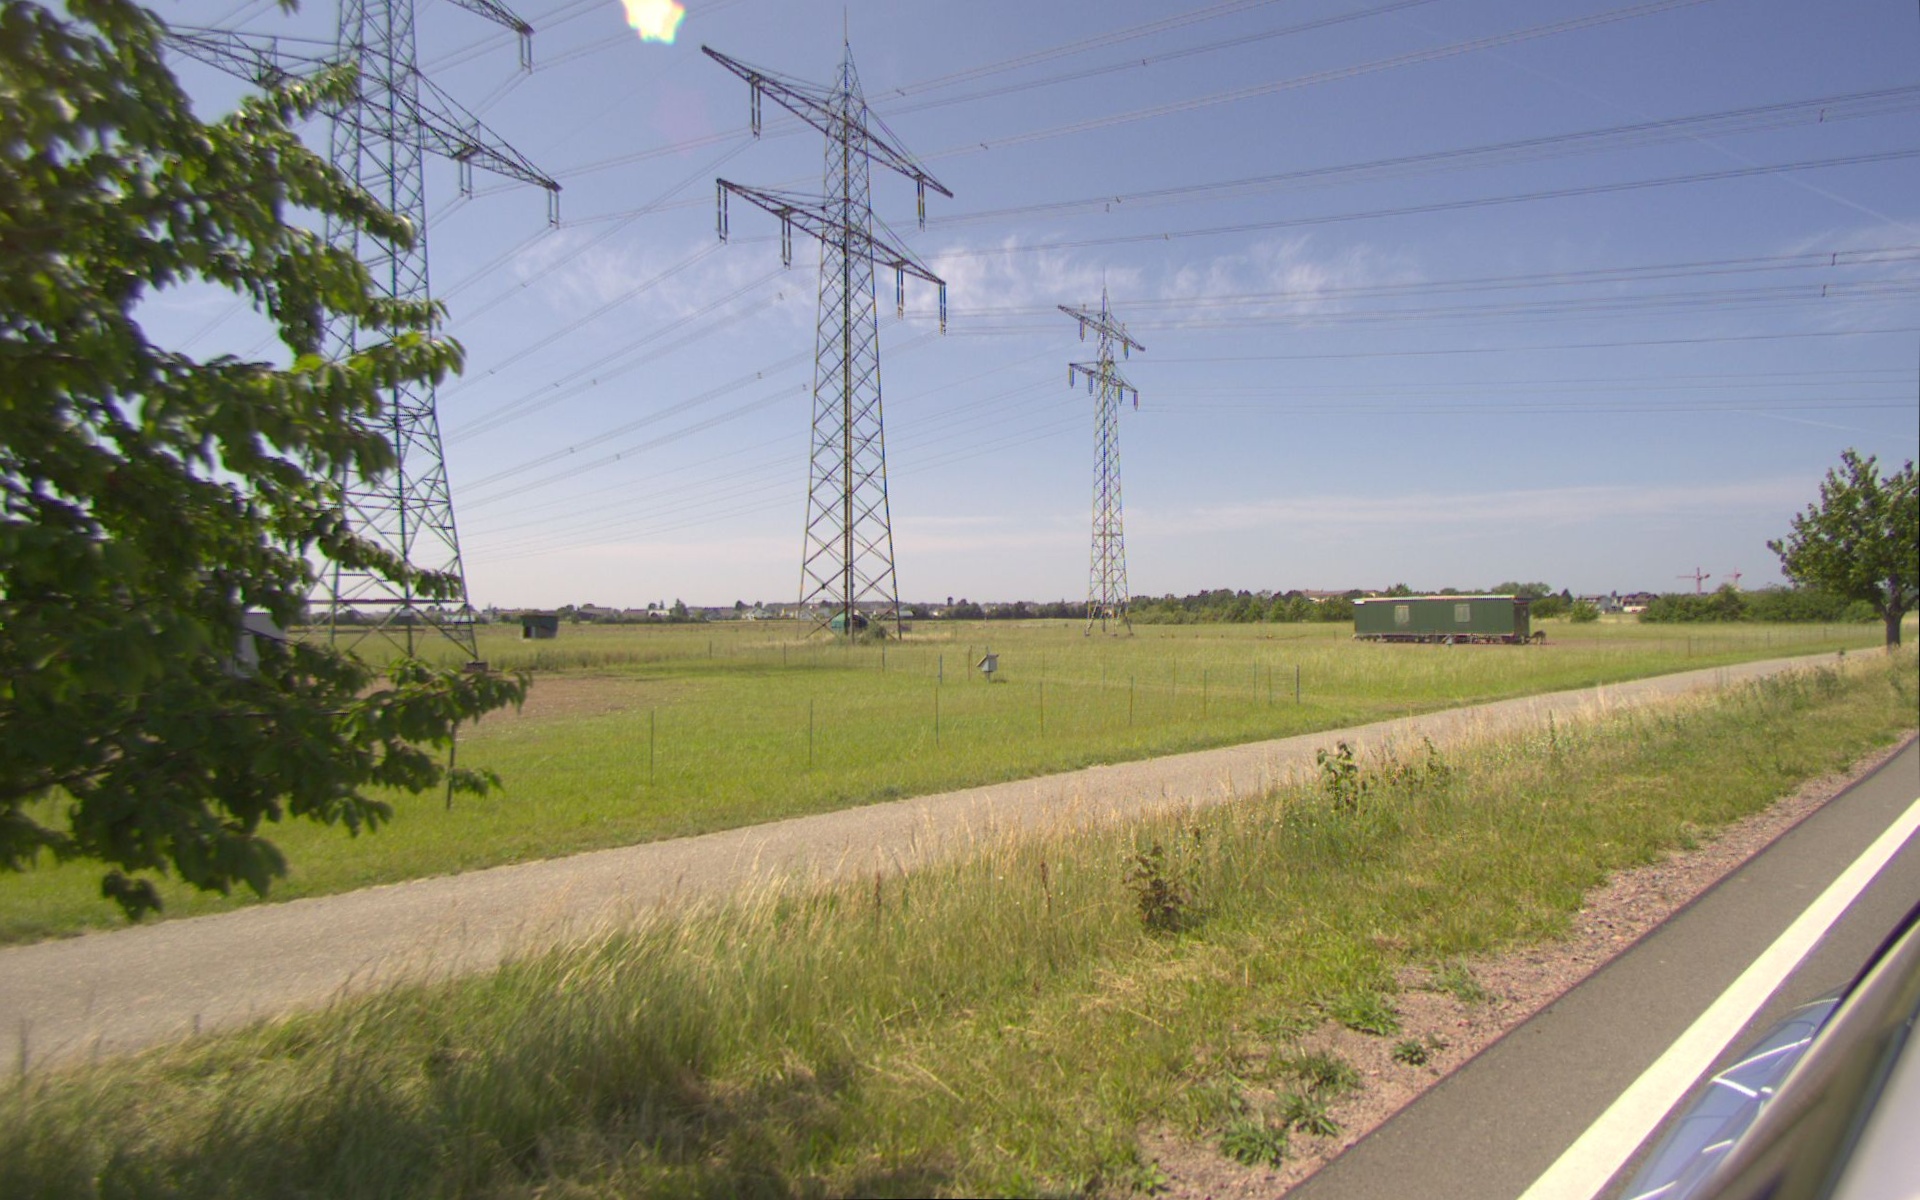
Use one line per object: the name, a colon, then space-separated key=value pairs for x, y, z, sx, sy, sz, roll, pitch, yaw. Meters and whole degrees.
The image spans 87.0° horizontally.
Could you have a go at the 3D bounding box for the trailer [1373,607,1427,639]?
trailer: x=35.223 y=1.831 z=81.071 sx=2.001 sy=2.494 sz=3.414 roll=0 pitch=-1 yaw=-39

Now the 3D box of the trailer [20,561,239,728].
trailer: x=-22.395 y=1.038 z=27.271 sx=3.738 sy=3.517 sz=12.430 roll=0 pitch=-1 yaw=-41

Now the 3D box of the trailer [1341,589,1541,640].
trailer: x=35.735 y=1.129 z=76.062 sx=3.217 sy=3.520 sz=13.536 roll=0 pitch=-1 yaw=-39

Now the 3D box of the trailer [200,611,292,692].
trailer: x=-23.382 y=1.614 z=33.080 sx=1.966 sy=2.474 sz=3.991 roll=0 pitch=-1 yaw=-43
